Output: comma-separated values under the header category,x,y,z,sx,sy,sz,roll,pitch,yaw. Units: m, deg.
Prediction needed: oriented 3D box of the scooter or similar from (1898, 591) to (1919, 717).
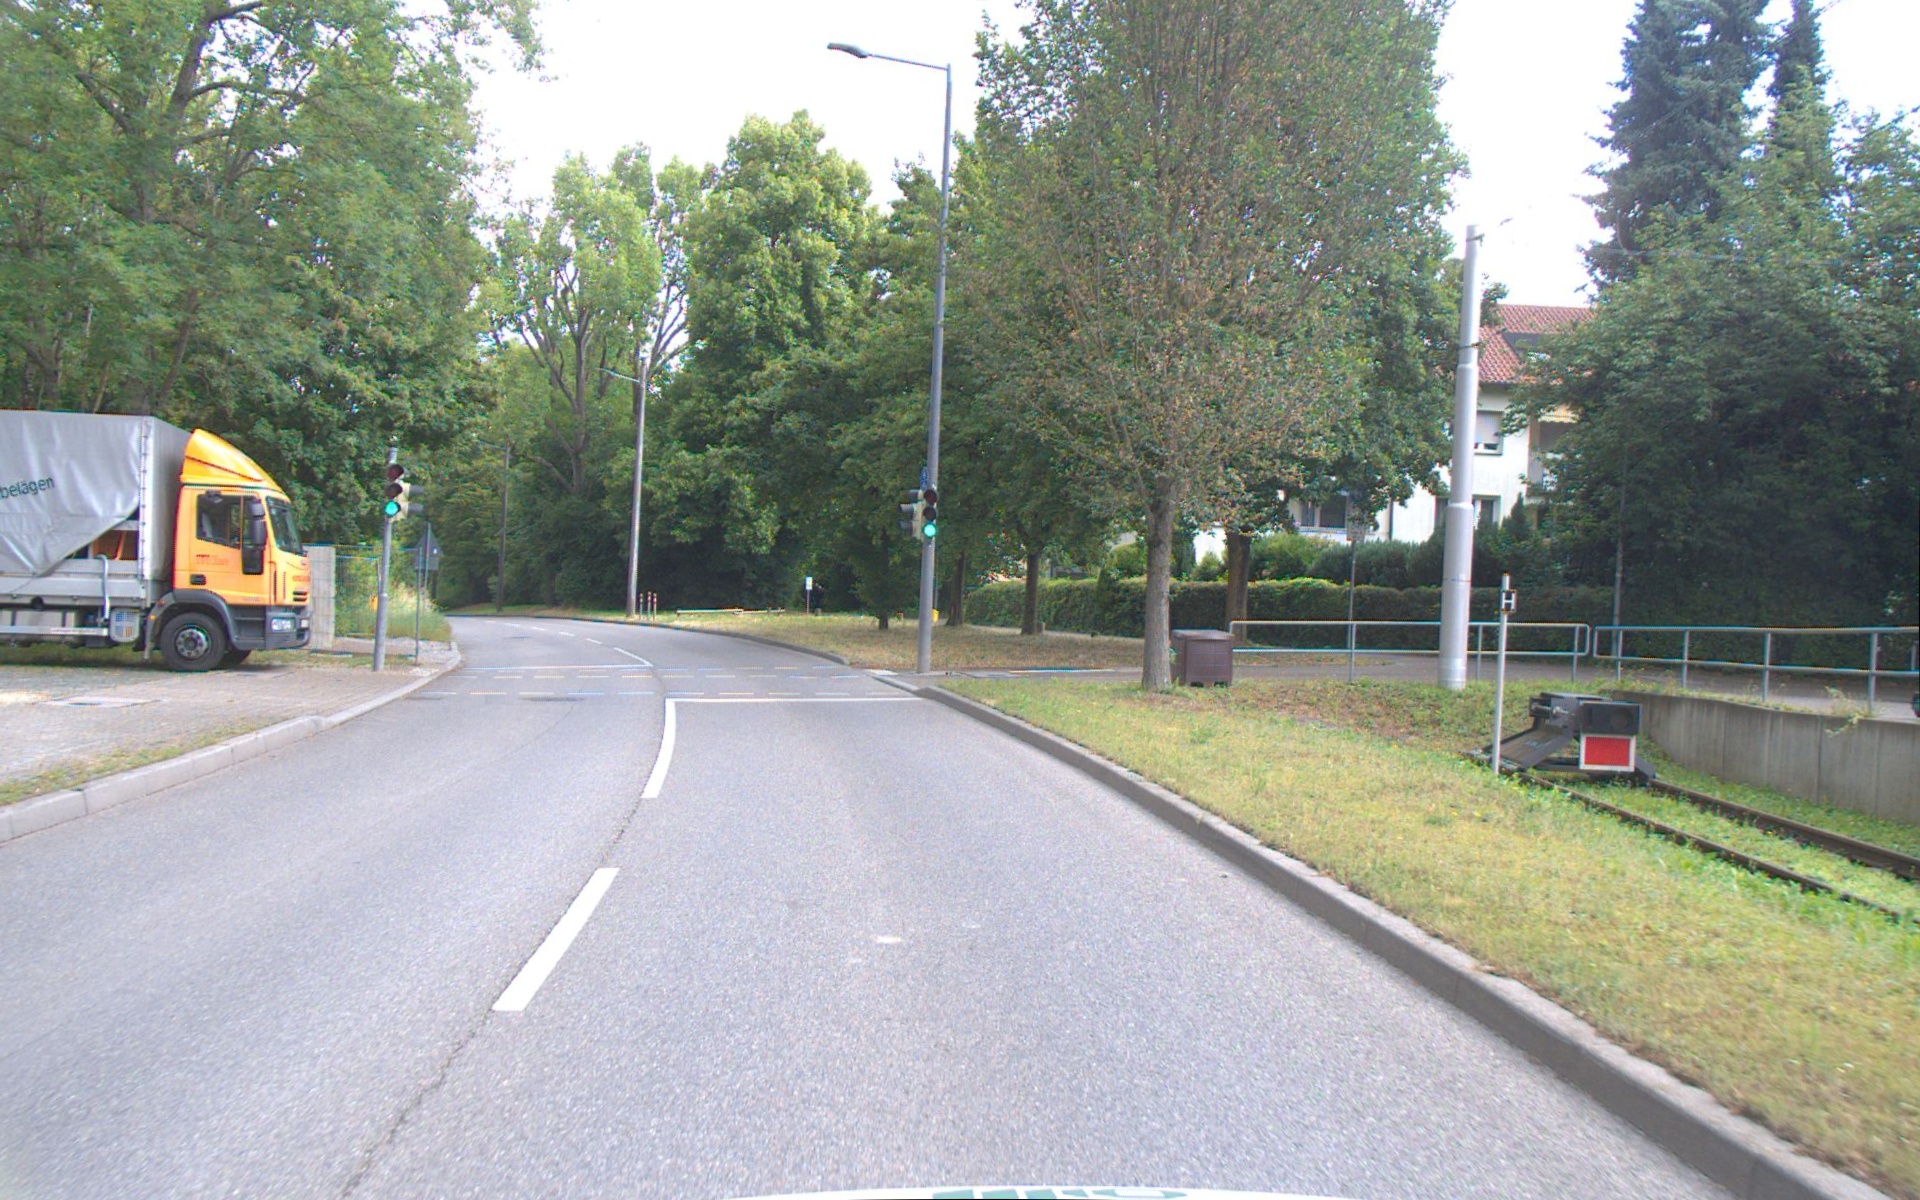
category,x,y,z,sx,sy,sz,roll,pitch,yaw
scooter or similar,10.023,0.546,16.546,0.422,1.275,1.252,1,-1,-9

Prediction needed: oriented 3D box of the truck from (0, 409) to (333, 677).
category,x,y,z,sx,sy,sz,roll,pitch,yaw
truck,-14.211,-0.882,24.049,9.067,3.593,2.558,2,-1,-12
